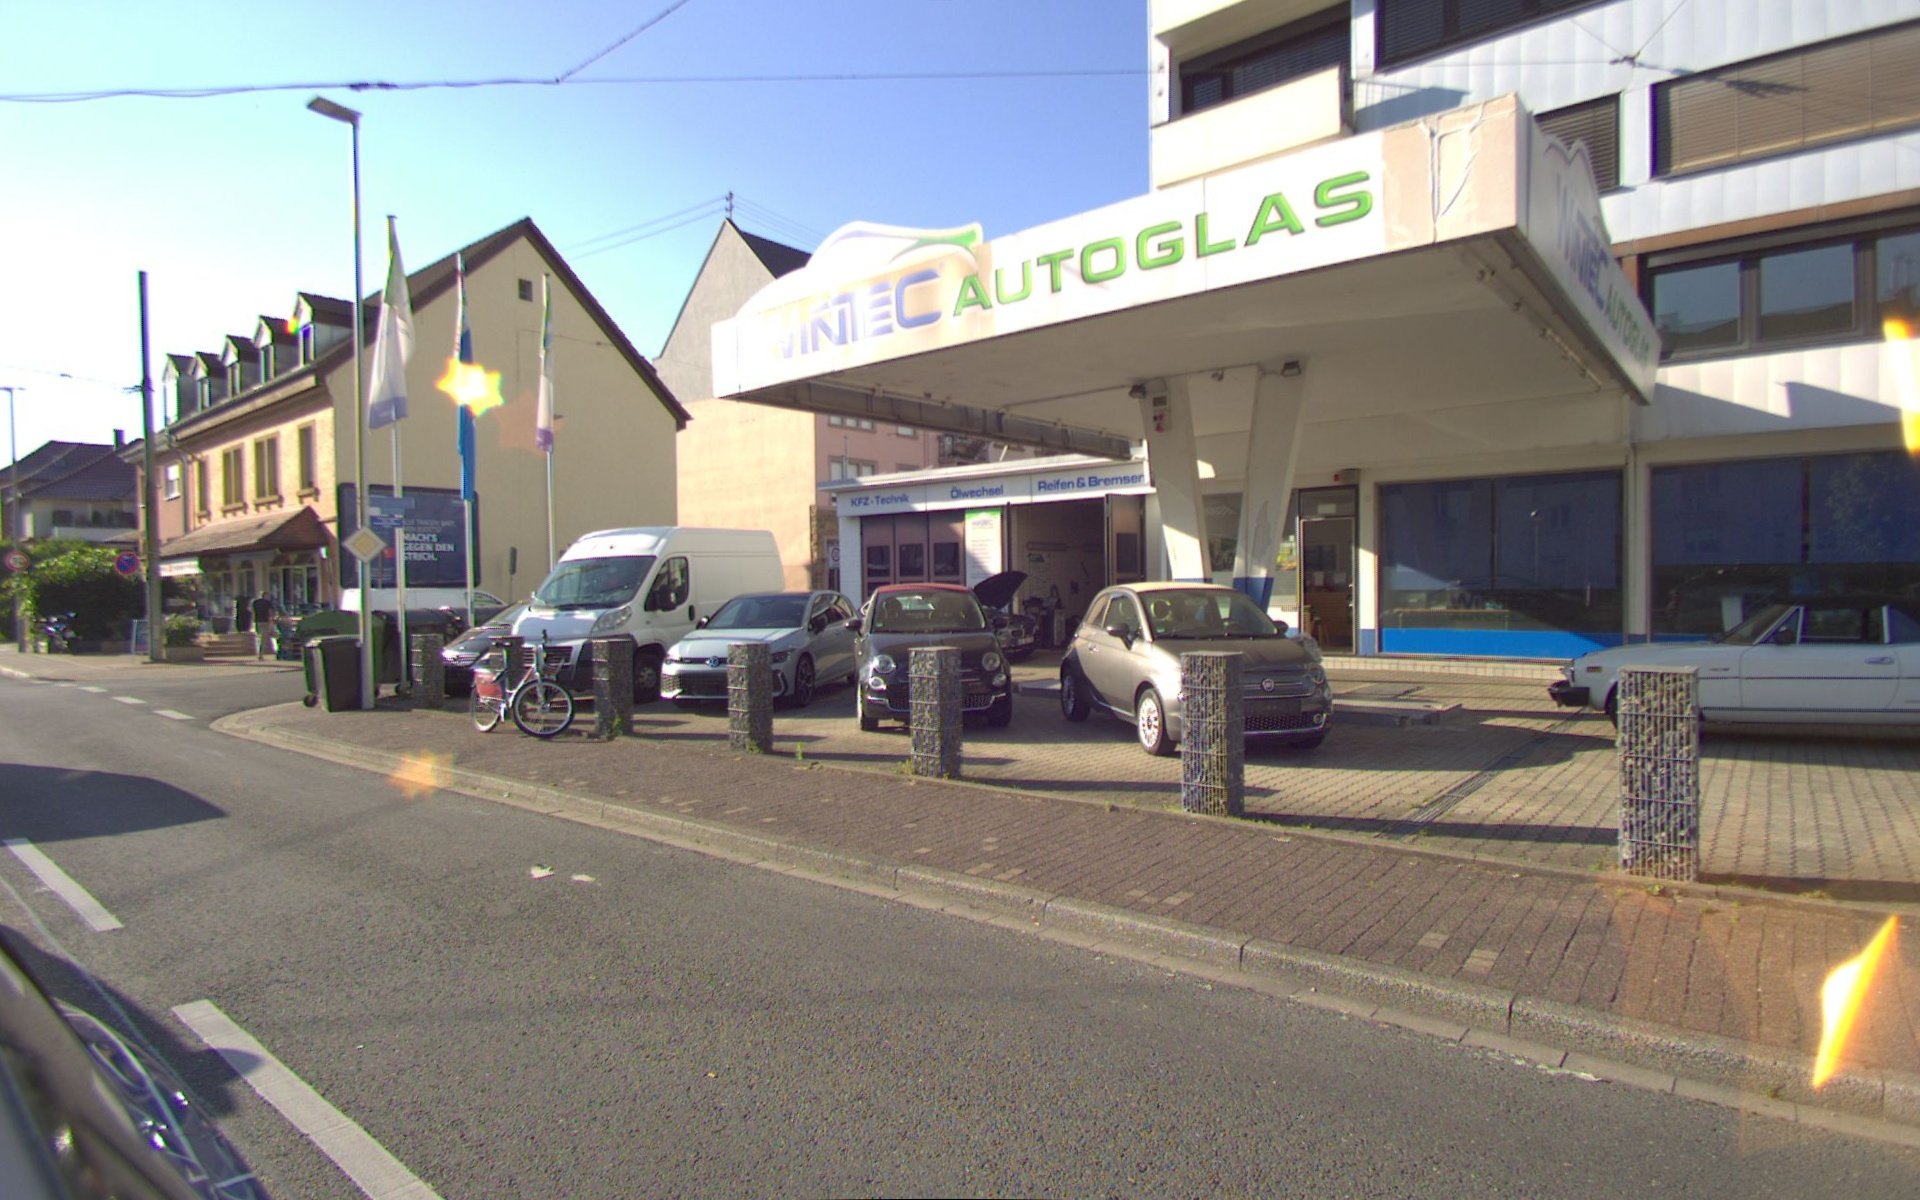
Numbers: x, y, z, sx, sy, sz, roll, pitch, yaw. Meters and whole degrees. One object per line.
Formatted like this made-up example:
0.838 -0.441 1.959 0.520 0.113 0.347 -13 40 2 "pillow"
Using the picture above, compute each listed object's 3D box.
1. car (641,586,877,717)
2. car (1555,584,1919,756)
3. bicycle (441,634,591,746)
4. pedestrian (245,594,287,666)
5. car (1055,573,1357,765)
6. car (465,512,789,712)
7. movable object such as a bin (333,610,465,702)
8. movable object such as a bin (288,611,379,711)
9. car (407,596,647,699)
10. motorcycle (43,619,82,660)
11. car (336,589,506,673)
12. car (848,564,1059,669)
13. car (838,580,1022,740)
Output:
-2.529 0.590 13.804 1.725 1.508 4.016 -1 0 12 "car"
7.387 0.543 8.570 3.898 1.308 1.506 -1 -1 37 "car"
-4.893 0.943 11.121 1.789 1.094 0.716 -1 1 37 "bicycle"
-18.269 0.775 26.659 0.809 1.866 0.769 -1 0 -28 "pedestrian"
2.155 0.537 9.793 1.517 1.497 3.381 -1 0 -11 "car"
-4.685 0.134 15.222 2.098 2.472 4.963 -1 0 18 "car"
-9.574 0.918 17.368 1.039 1.475 1.787 -1 0 15 "movable object such as a bin"
-9.704 0.920 15.713 1.030 1.475 0.798 -1 0 -18 "movable object such as a bin"
-7.060 0.706 17.008 1.725 1.488 4.016 -1 0 12 "car"
-27.964 1.208 31.529 2.186 1.226 0.699 -1 0 43 "motorcycle"
-13.891 0.742 26.251 1.449 2.029 3.628 -1 0 37 "car"
-0.204 0.322 20.919 4.255 1.958 1.720 -1 0 40 "car"
-0.481 0.566 11.507 1.569 1.508 3.443 -1 0 -10 "car"
